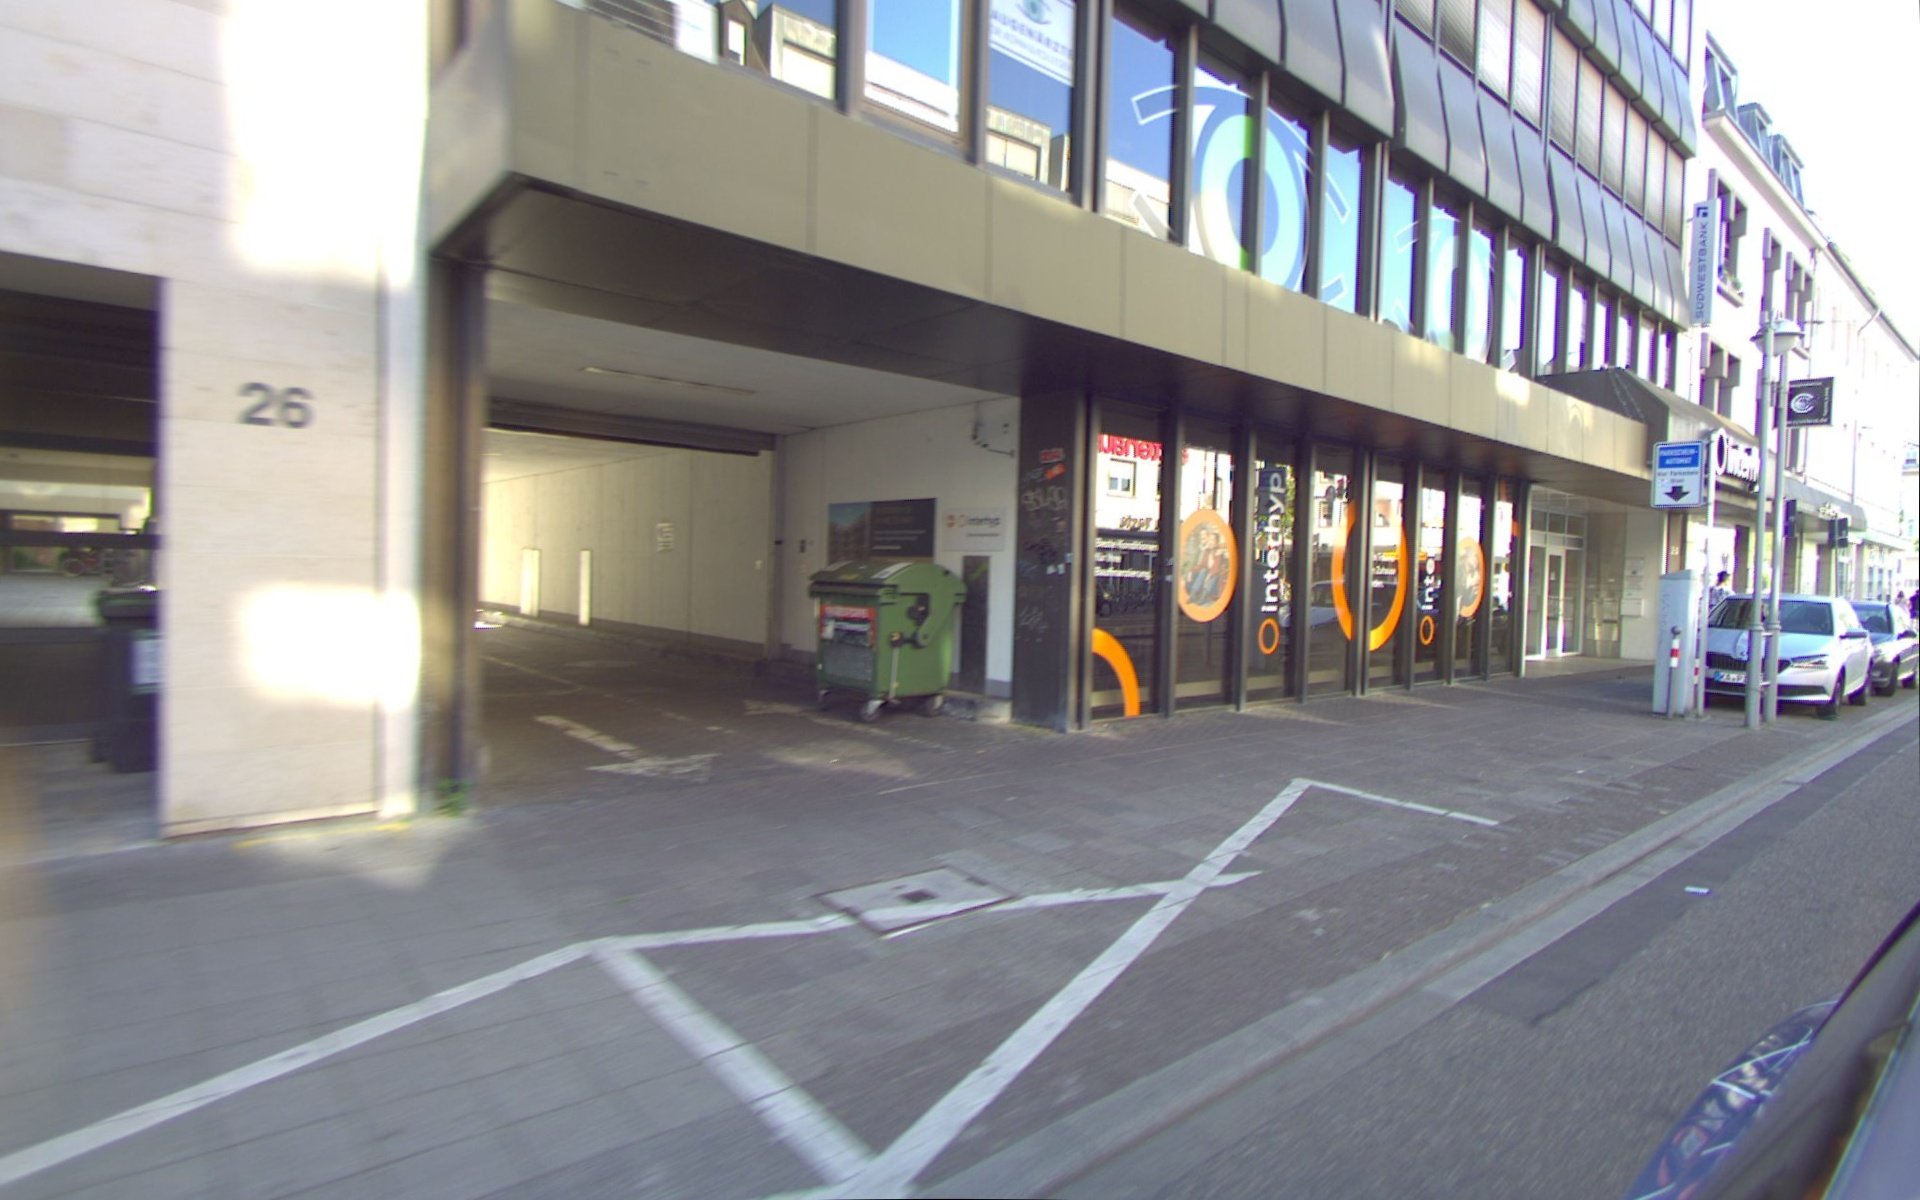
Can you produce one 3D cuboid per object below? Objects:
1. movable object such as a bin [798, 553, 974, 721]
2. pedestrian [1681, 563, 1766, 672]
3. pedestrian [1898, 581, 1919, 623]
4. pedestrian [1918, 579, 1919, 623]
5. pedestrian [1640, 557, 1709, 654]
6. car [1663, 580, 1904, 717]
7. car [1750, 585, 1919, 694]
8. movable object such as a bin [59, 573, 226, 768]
[{"bbox_3d":[-0.724,0.295,9.635,1.020,1.446,1.415,0,2,-41],"label":"movable object such as a bin"},{"bbox_3d":[13.758,0.291,18.244,0.981,1.865,0.925,0,3,-40],"label":"pedestrian"},{"bbox_3d":[40.436,0.077,42.969,0.562,1.781,0.651,0,1,-17],"label":"pedestrian"},{"bbox_3d":[40.840,0.059,42.456,0.628,1.865,0.683,1,1,-17],"label":"pedestrian"},{"bbox_3d":[13.506,0.087,19.139,1.013,1.773,0.781,0,2,-40],"label":"pedestrian"},{"bbox_3d":[11.016,0.525,13.439,4.221,1.480,1.749,0,3,-41],"label":"car"},{"bbox_3d":[14.734,0.558,16.602,4.224,1.480,1.853,0,3,-39],"label":"car"},{"bbox_3d":[-4.947,0.385,6.138,0.747,1.069,0.710,0,2,-41],"label":"movable object such as a bin"}]
